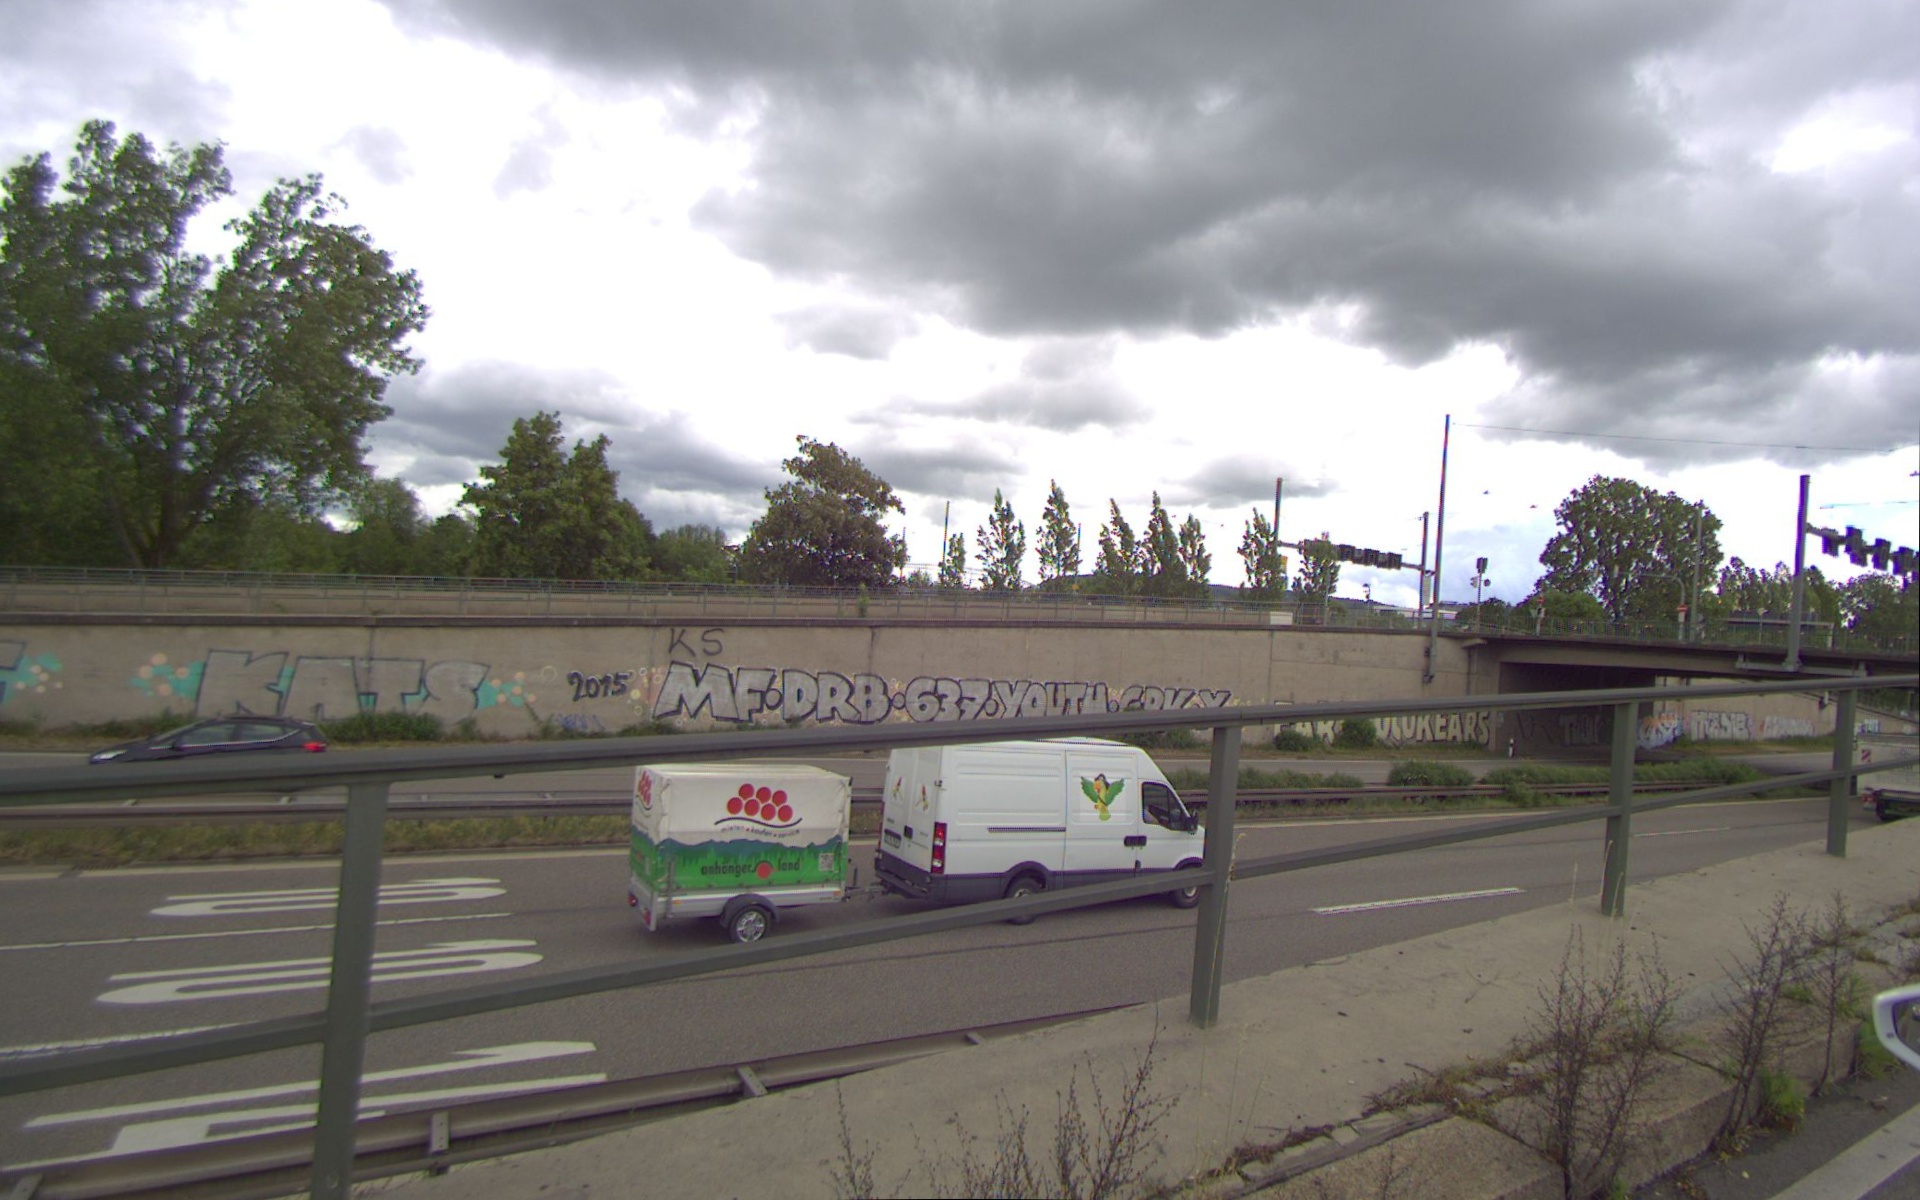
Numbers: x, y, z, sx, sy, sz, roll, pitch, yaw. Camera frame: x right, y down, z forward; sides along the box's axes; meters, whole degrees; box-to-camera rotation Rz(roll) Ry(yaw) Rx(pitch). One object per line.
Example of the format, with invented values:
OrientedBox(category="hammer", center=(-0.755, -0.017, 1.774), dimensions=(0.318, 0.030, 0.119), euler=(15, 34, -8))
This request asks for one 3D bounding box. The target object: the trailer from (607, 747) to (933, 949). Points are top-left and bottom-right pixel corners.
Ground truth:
OrientedBox(category="trailer", center=(-2.545, 3.227, 13.688), dimensions=(3.892, 2.157, 1.720), euler=(6, -2, -30))

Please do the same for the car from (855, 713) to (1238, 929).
OrientedBox(category="car", center=(1.504, 3.348, 16.010), dimensions=(5.866, 2.719, 1.984), euler=(6, -2, -30))

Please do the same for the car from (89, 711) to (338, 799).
OrientedBox(category="car", center=(-15.117, 3.174, 20.630), dimensions=(3.815, 1.520, 1.656), euler=(6, -4, -30))

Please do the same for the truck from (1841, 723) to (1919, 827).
OrientedBox(category="truck", center=(35.647, 6.383, 36.887), dimensions=(7.357, 3.335, 2.733), euler=(5, -3, -30))

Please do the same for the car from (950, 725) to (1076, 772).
OrientedBox(category="car", center=(1.864, 5.144, 34.748), dimensions=(4.065, 1.393, 1.702), euler=(6, -4, -31))

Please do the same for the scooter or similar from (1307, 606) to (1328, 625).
OrientedBox(category="scooter or similar", center=(22.553, 0.954, 63.409), dimensions=(1.403, 1.108, 0.539), euler=(4, -2, -37))
